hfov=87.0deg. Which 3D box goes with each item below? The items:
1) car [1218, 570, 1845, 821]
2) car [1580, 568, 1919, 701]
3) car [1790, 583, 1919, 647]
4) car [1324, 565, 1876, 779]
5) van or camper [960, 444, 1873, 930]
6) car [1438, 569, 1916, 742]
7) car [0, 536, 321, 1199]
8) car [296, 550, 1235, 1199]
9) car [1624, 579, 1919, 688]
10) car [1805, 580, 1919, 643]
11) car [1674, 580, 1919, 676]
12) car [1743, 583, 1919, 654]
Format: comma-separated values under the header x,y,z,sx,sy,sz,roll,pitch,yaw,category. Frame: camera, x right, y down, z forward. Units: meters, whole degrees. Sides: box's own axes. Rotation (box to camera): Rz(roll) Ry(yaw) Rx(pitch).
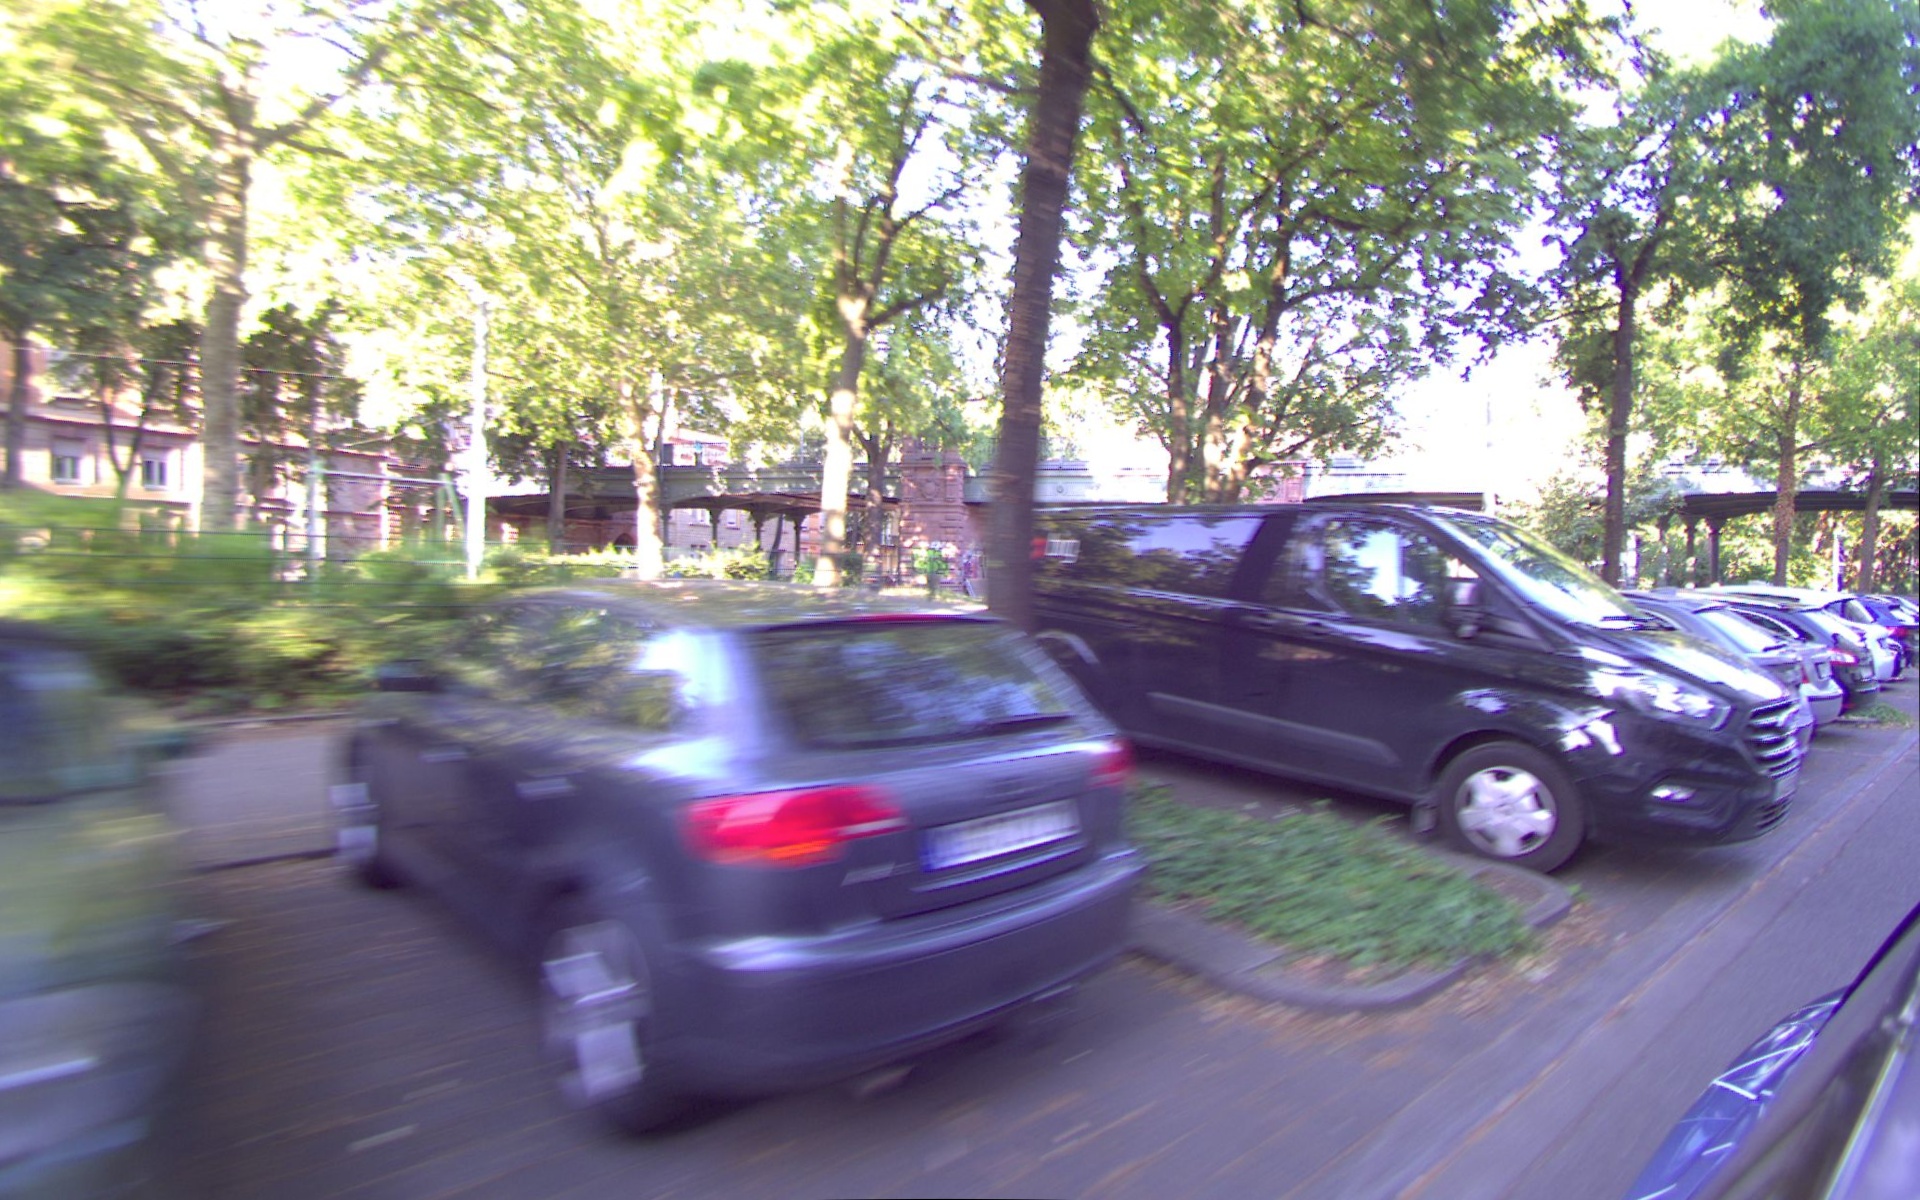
x,y,z,sx,sy,sz,roll,pitch,yaw,category
4.655,0.557,8.797,1.807,1.519,4.405,-2,4,-43,car
11.821,0.387,15.332,1.635,1.666,3.791,-2,4,-40,car
23.126,0.359,24.969,1.795,1.418,3.791,-2,4,-39,car
6.131,0.493,10.234,1.634,1.596,4.411,-2,4,-38,car
2.480,0.253,7.024,1.992,2.052,5.429,1,2,-38,van or camper
8.354,0.479,12.242,1.633,1.596,4.415,-2,4,-36,car
-3.040,0.555,2.711,1.804,1.457,4.411,-1,3,-38,car
-1.290,0.551,4.170,1.806,1.457,4.407,-1,3,-42,car
13.701,0.456,17.120,1.634,1.491,3.792,-2,4,-38,car
24.738,0.296,26.545,1.609,1.490,3.785,-2,4,-44,car
15.689,0.425,18.650,1.633,1.464,3.795,-2,4,-35,car
20.831,0.394,23.612,1.636,1.418,3.789,-2,4,-41,car
